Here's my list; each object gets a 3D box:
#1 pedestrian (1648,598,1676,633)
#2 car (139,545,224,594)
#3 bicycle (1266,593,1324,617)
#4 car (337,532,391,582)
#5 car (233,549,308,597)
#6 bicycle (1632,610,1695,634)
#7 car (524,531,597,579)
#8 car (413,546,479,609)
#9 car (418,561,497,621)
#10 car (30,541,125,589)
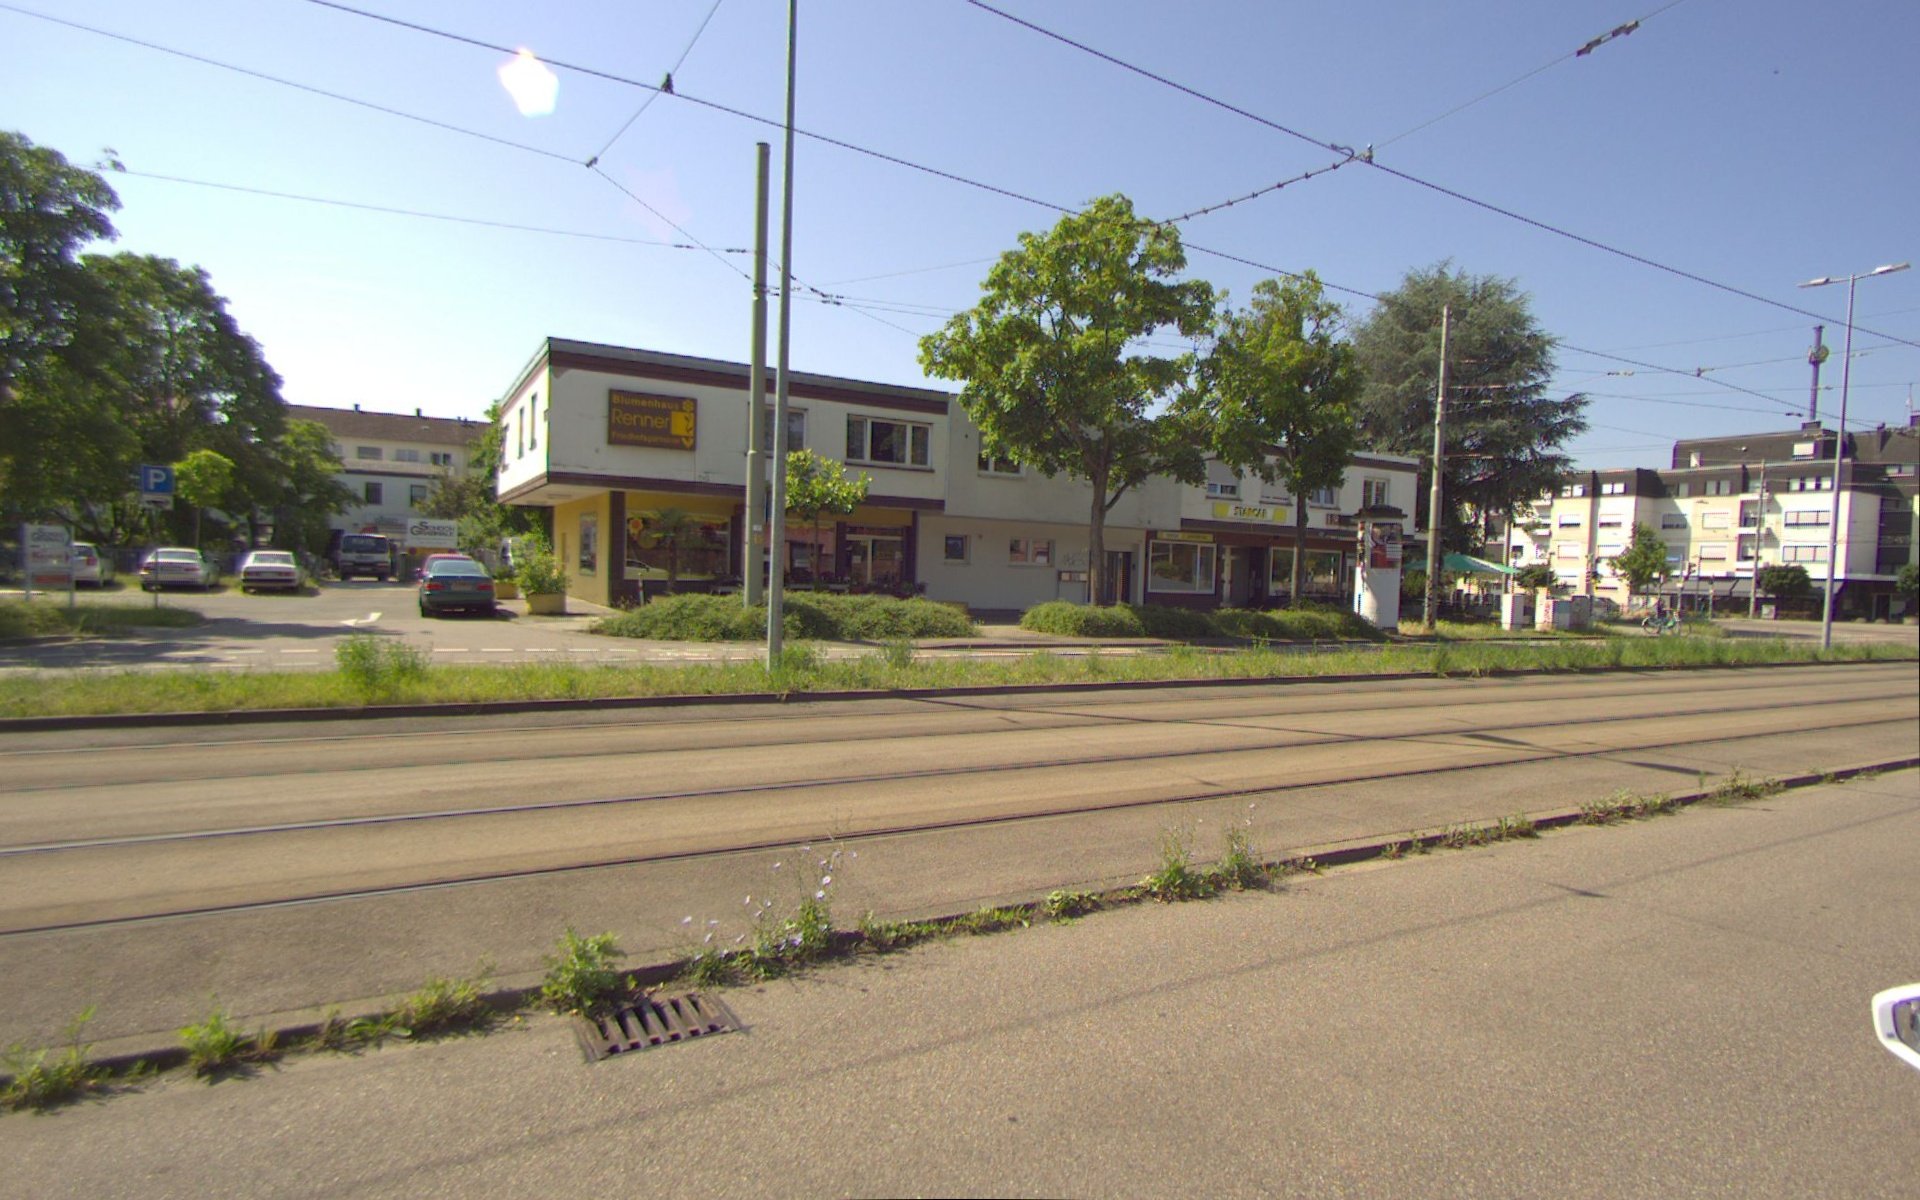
[{"bbox_3d":[30.774,0.664,44.036,0.799,1.507,0.566,2,1,17],"label":"pedestrian"},{"bbox_3d":[-26.285,-1.035,34.041,1.890,1.555,3.964,0,2,-32],"label":"car"},{"bbox_3d":[13.218,0.206,39.644,2.362,0.900,0.779,1,2,-30],"label":"bicycle"},{"bbox_3d":[-28.428,-2.006,47.820,2.077,2.203,4.901,1,1,-32],"label":"car"},{"bbox_3d":[-23.853,-0.949,34.866,1.889,1.555,3.966,0,2,-31],"label":"car"},{"bbox_3d":[30.458,0.954,43.539,2.134,0.934,0.553,2,1,17],"label":"bicycle"},{"bbox_3d":[-20.444,-2.301,51.502,3.373,2.307,1.476,1,2,-20],"label":"car"},{"bbox_3d":[-15.705,-0.712,30.609,1.677,1.759,4.128,1,2,-29],"label":"car"},{"bbox_3d":[-12.971,-0.270,25.810,1.677,1.363,4.128,1,2,-29],"label":"car"},{"bbox_3d":[-28.864,-1.140,32.954,1.657,1.444,3.951,0,2,-31],"label":"car"}]
